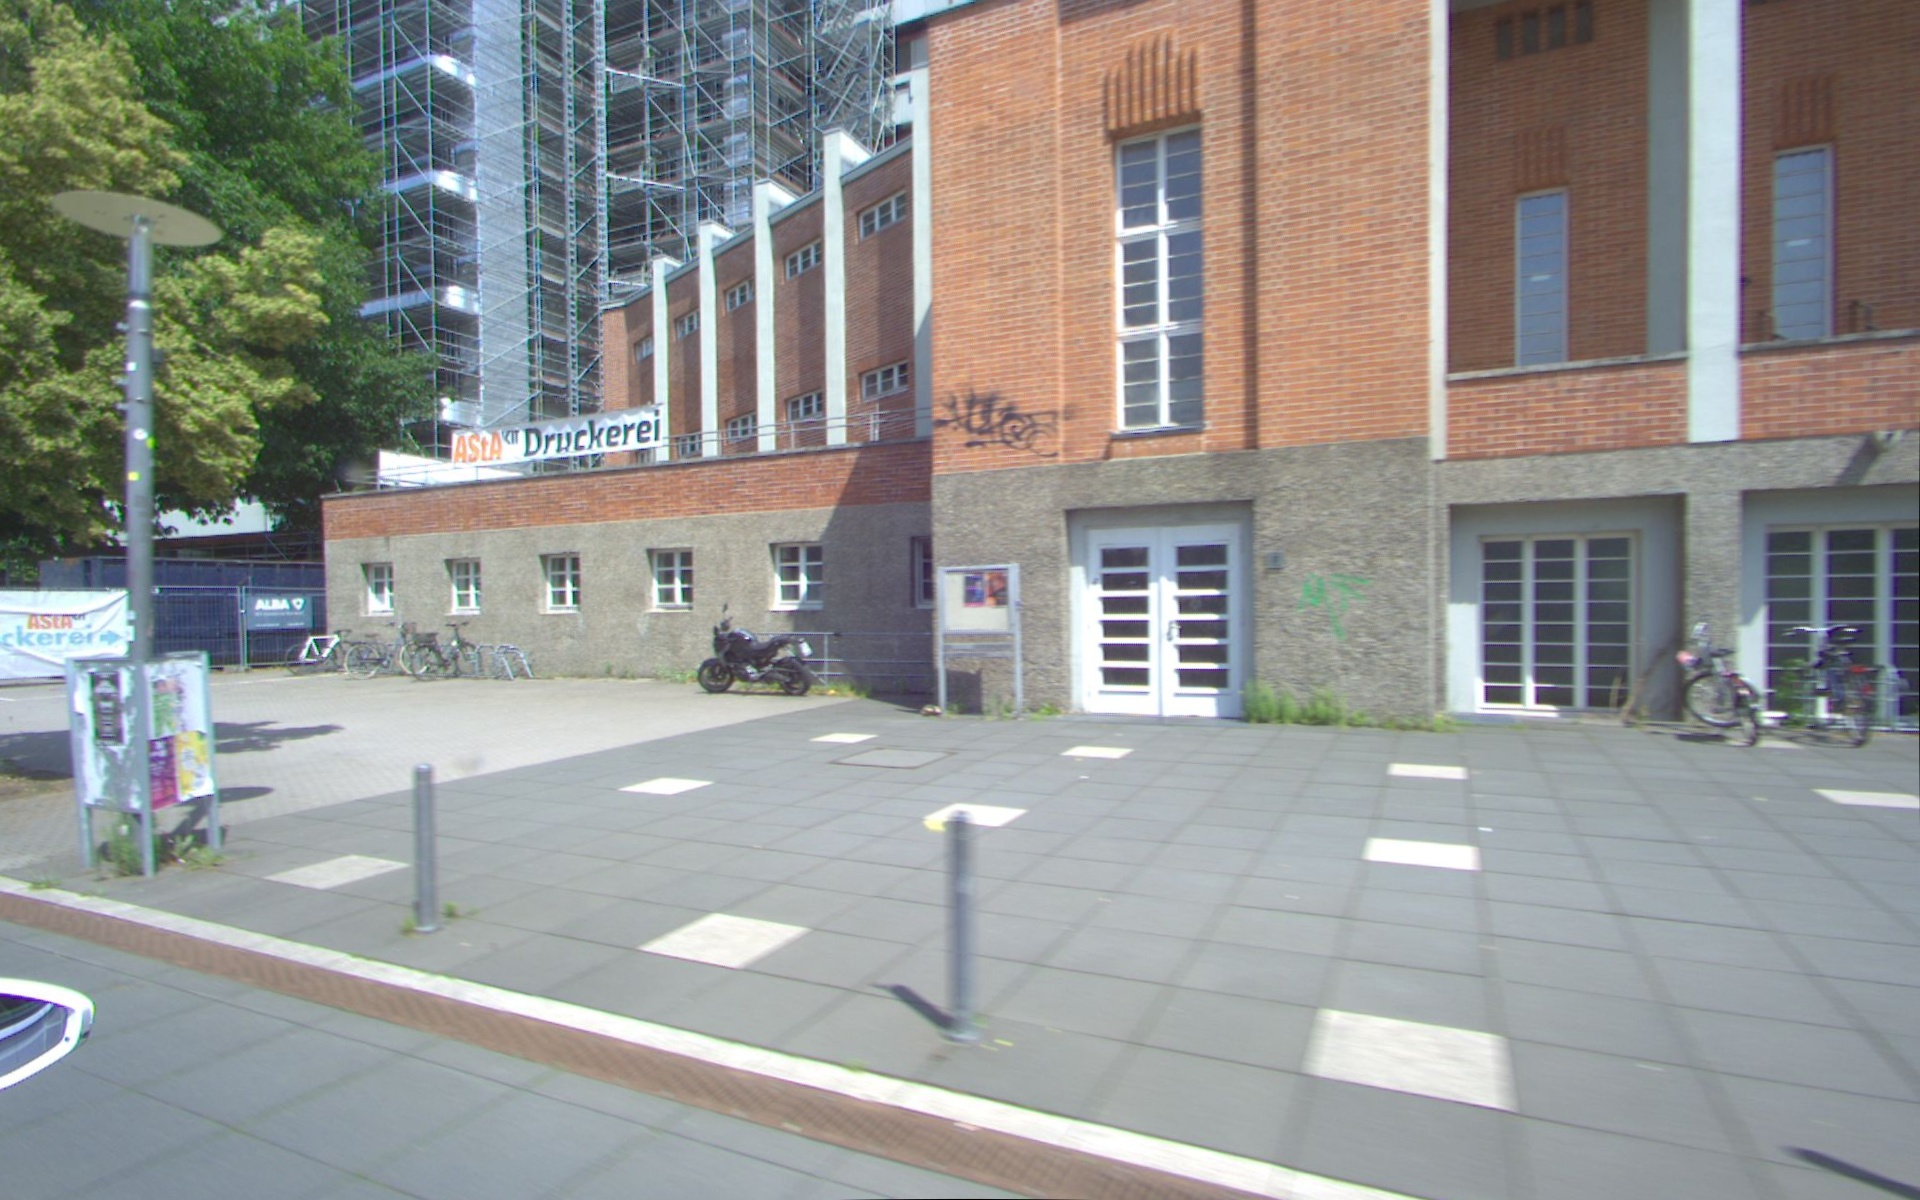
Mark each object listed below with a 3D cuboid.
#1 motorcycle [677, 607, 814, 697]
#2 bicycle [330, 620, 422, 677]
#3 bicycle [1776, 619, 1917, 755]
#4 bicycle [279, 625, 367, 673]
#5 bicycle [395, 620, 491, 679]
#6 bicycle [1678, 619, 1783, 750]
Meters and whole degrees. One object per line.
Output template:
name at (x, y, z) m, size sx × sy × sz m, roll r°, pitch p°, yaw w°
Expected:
motorcycle at (-3.377, 0.786, 15.697) m, size 2.186 × 1.341 × 0.695 m, roll 0°, pitch 0°, yaw 29°
bicycle at (-12.268, 1.001, 21.082) m, size 0.440 × 1.124 × 1.701 m, roll 0°, pitch 0°, yaw 26°
bicycle at (8.512, 0.779, 9.688) m, size 0.509 × 1.165 × 1.753 m, roll 0°, pitch 0°, yaw 24°
bicycle at (-14.212, 1.075, 22.381) m, size 0.440 × 1.016 × 1.671 m, roll 0°, pitch 0°, yaw 26°
bicycle at (-10.421, 0.976, 20.248) m, size 0.440 × 1.124 × 1.805 m, roll 0°, pitch 0°, yaw 26°
bicycle at (7.650, 0.785, 10.000) m, size 0.428 × 1.165 × 1.753 m, roll 0°, pitch 0°, yaw 24°
